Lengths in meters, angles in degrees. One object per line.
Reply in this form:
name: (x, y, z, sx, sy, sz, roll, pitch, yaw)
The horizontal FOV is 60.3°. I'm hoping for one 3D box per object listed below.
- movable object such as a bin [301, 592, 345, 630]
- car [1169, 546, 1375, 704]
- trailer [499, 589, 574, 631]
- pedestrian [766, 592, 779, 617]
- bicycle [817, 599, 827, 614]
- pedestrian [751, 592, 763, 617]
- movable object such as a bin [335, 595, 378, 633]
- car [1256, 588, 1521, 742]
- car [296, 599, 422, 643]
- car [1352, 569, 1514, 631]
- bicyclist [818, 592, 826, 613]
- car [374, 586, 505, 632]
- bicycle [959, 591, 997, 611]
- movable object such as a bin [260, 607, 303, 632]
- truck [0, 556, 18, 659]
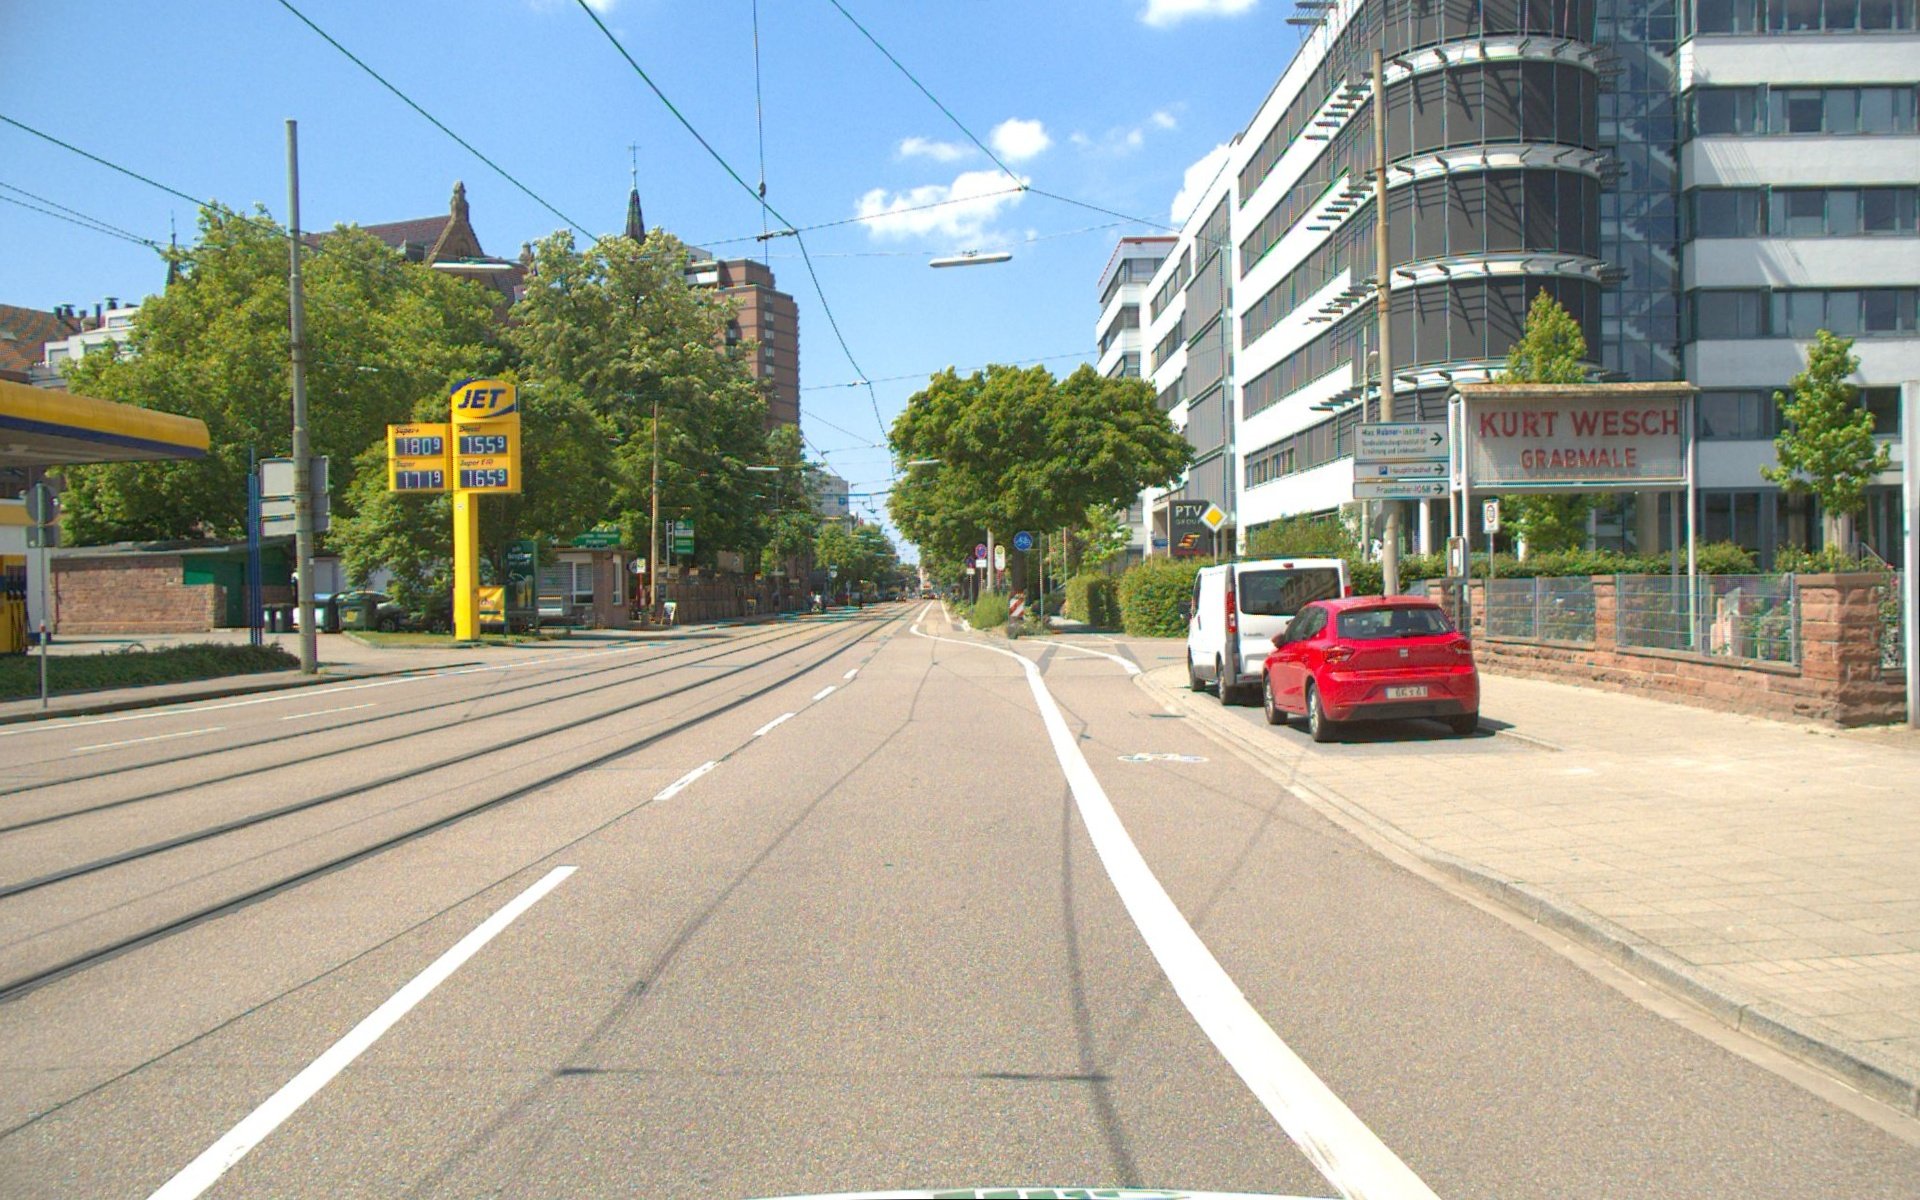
movable object such as a bin: (-23.596, 0.411, 61.290, 1.315, 1.378, 0.759, -1, 0, 11)
car: (4.554, 0.321, 25.049, 1.953, 2.026, 5.514, -3, 0, -1)
trailer: (-18.130, 0.421, 70.955, 2.772, 1.733, 1.621, -1, 0, 0)
pedestrian: (-13.427, 0.336, 118.293, 0.798, 1.801, 0.924, -1, 0, -1)
bicycle: (-11.556, 0.548, 138.566, 0.687, 1.225, 2.240, -3, 0, -1)
pedestrian: (-14.763, 0.333, 120.241, 0.728, 1.758, 0.867, -1, 0, -1)
movable object such as a bin: (-22.053, 0.508, 60.452, 1.317, 1.378, 0.758, -1, 0, -3)
car: (4.585, 0.630, 18.326, 1.952, 1.467, 4.017, -1, 0, 1)
car: (-23.709, 0.816, 65.318, 4.300, 1.620, 1.879, -1, 0, -44)
car: (11.836, -0.008, 41.535, 3.527, 1.476, 1.758, -1, 0, -1)
bicyclist: (-11.541, 0.219, 138.615, 0.629, 1.709, 0.814, -1, 0, -4)
car: (-19.476, 0.311, 61.994, 1.965, 1.618, 4.305, -1, 0, 43)
bicycle: (1.200, 0.075, 109.172, 2.458, 1.231, 0.648, -1, 0, 3)
movable object such as a bin: (-25.361, 0.732, 61.852, 1.316, 0.888, 0.758, -1, 0, 19)
truck: (-25.503, 0.213, 39.266, 1.956, 2.542, 5.194, -1, 0, 29)
